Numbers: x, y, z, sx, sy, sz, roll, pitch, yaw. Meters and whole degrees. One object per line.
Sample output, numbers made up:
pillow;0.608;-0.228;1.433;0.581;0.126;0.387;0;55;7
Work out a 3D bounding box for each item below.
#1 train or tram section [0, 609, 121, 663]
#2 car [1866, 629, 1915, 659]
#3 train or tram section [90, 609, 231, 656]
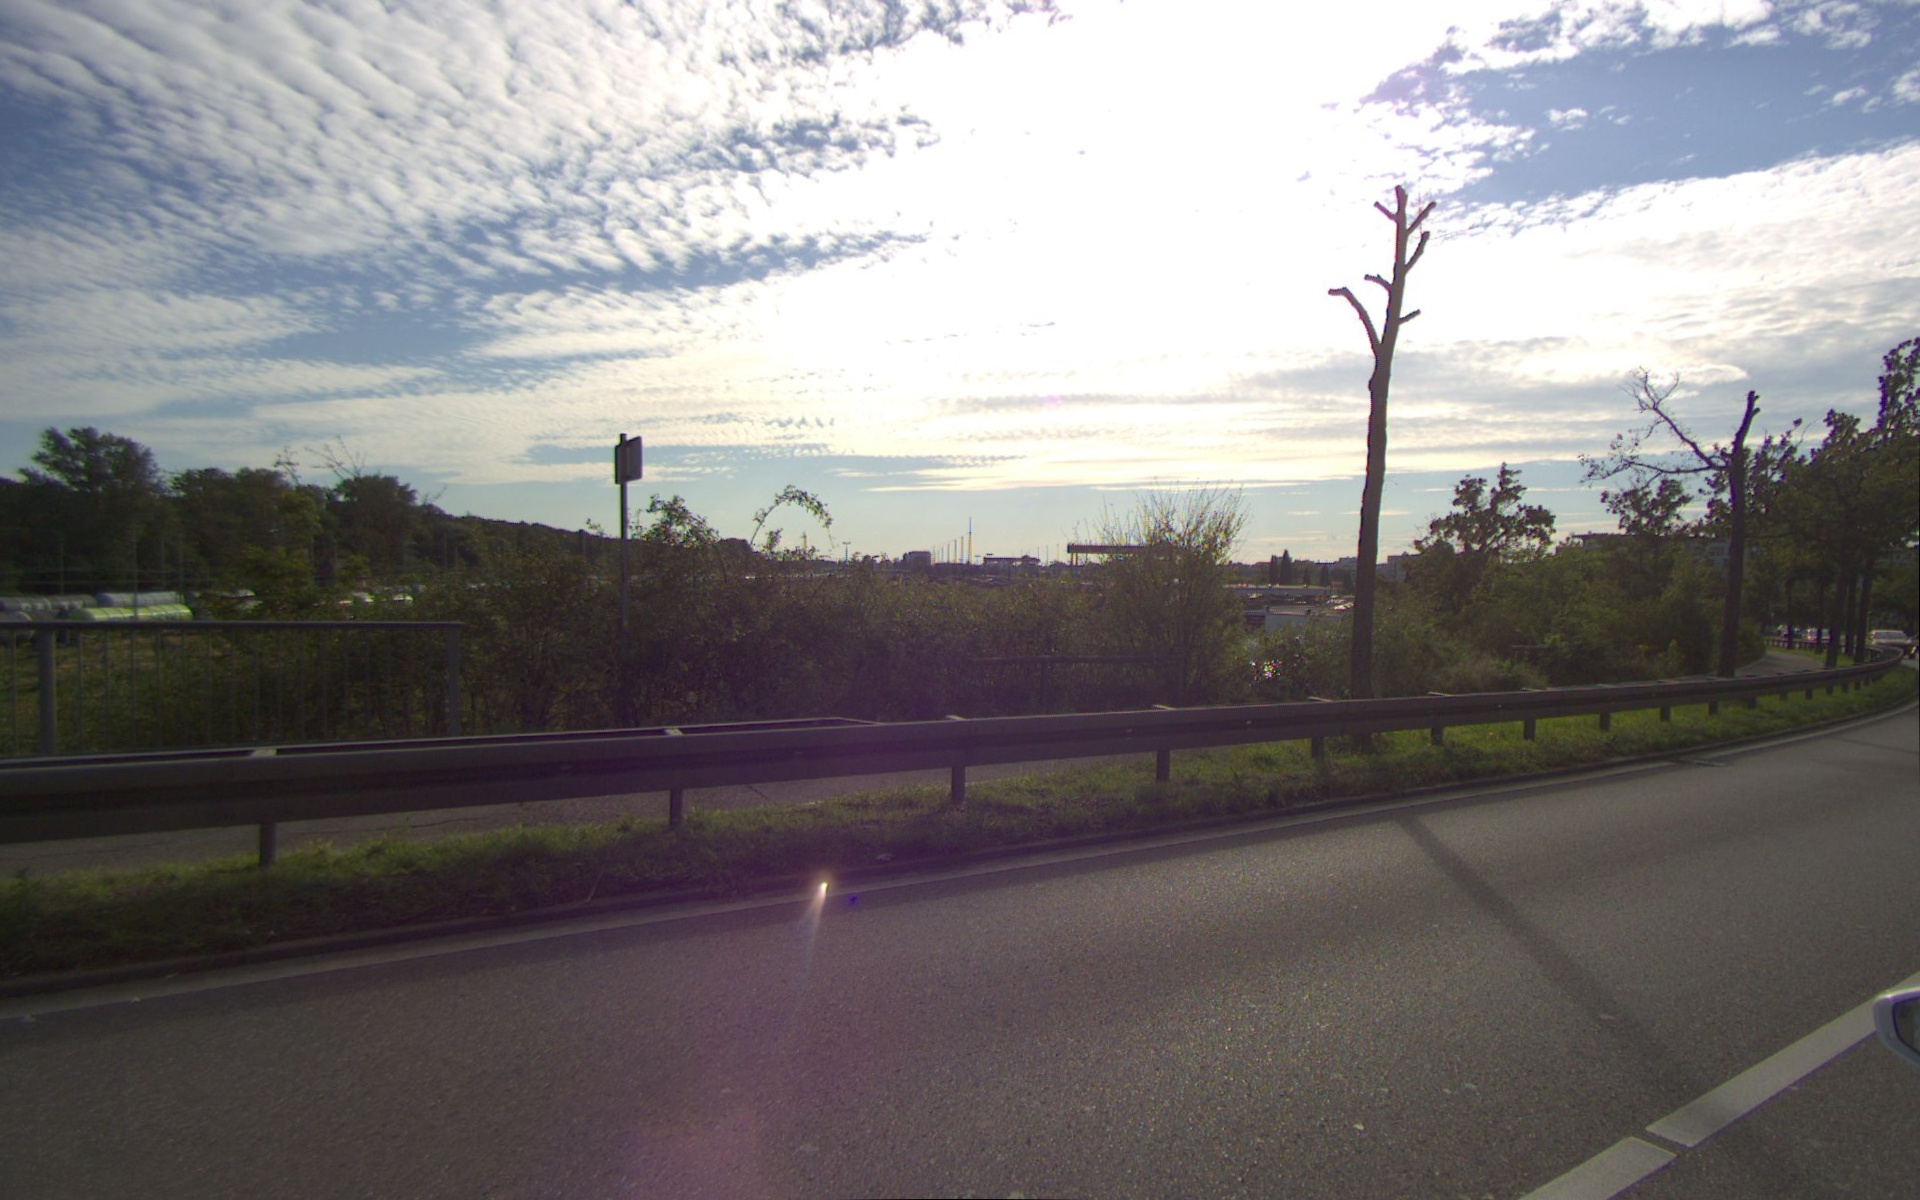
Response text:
train or tram section;-88.013;3.258;95.489;3.037;4.775;16.743;1;0;-3
car;48.656;2.279;52.585;1.779;1.444;3.852;0;-1;41
train or tram section;-88.696;3.438;112.209;3.037;4.775;16.743;1;0;-3
